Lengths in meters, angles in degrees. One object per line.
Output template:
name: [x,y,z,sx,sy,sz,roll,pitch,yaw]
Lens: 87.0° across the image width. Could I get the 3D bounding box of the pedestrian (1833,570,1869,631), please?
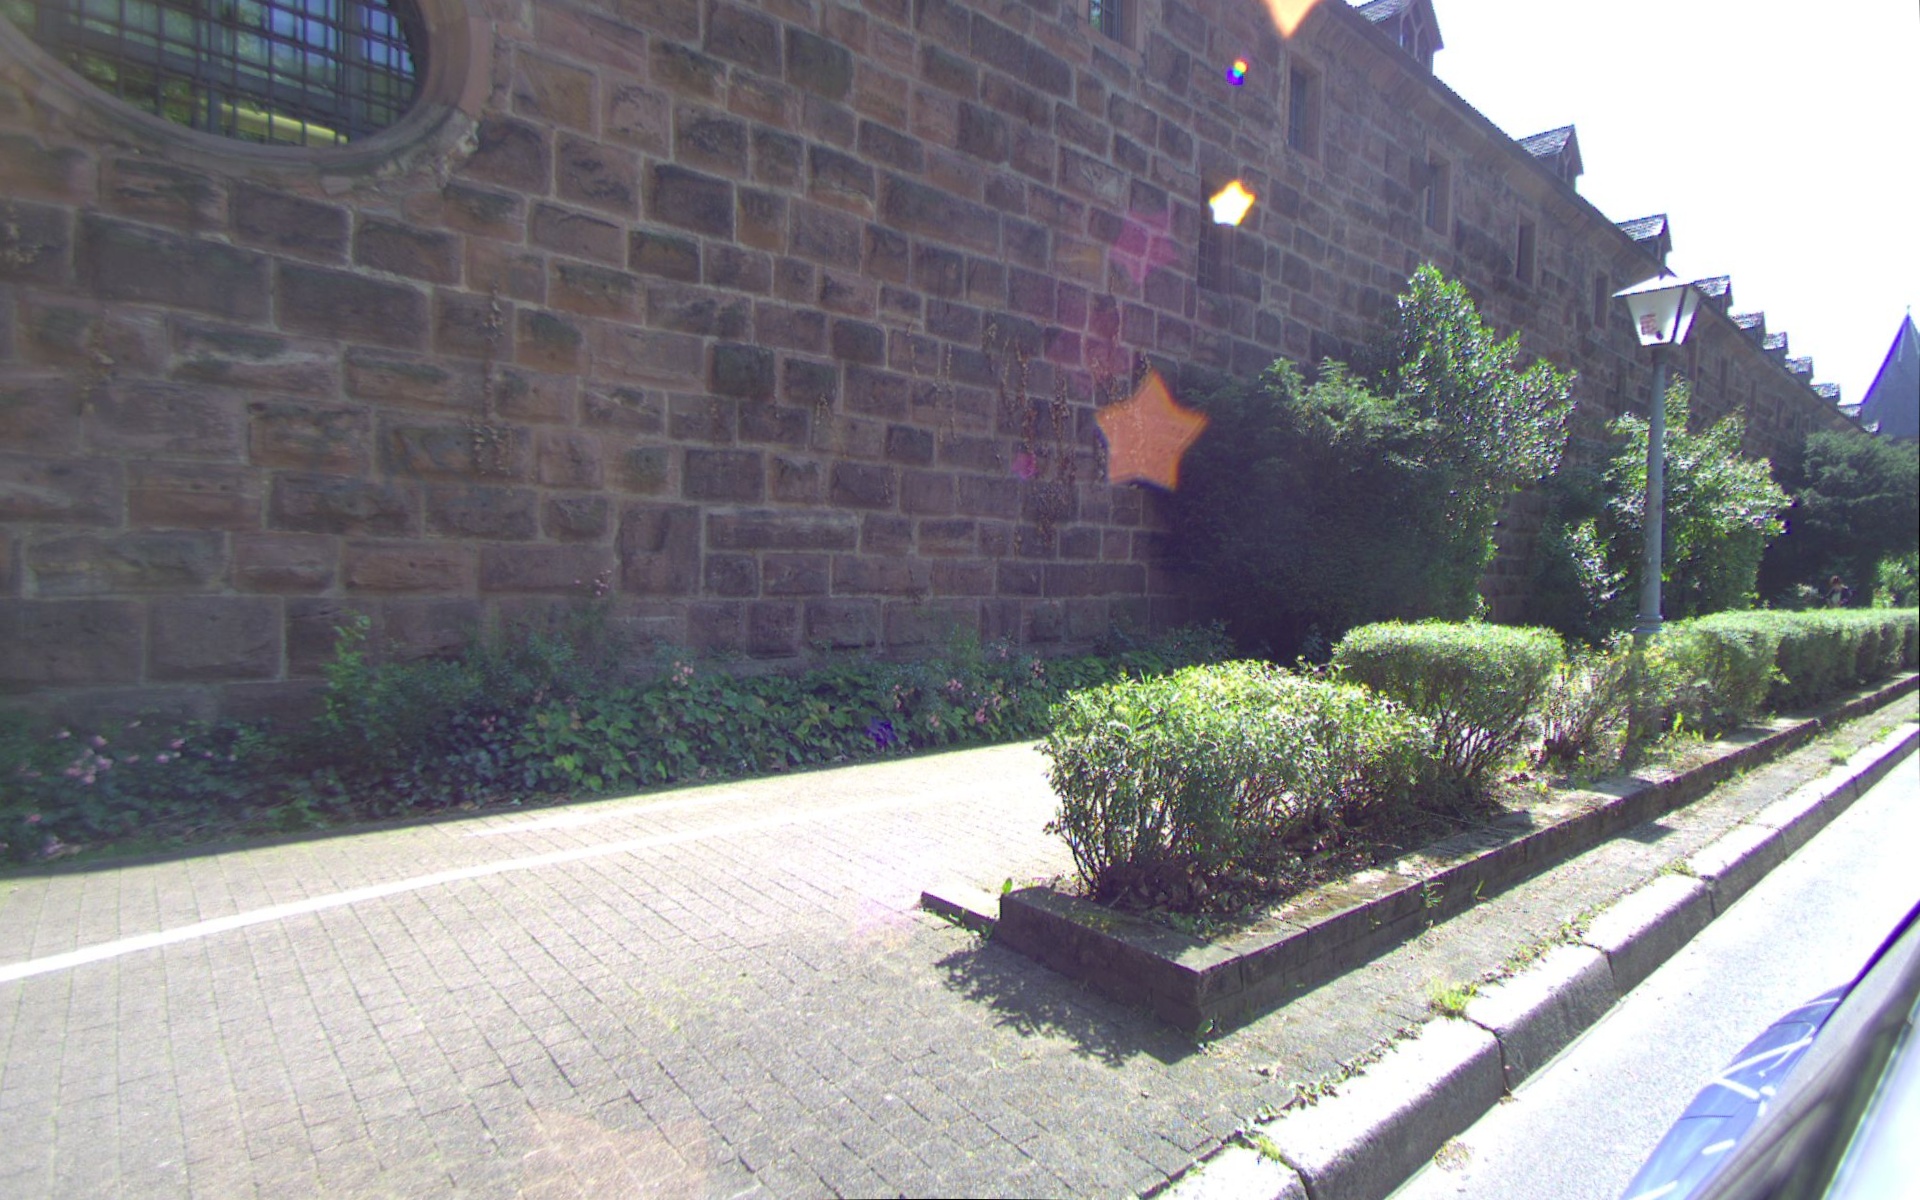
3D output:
pedestrian: [23.616,0.002,26.837,0.554,1.583,0.642,-1,0,-41]
